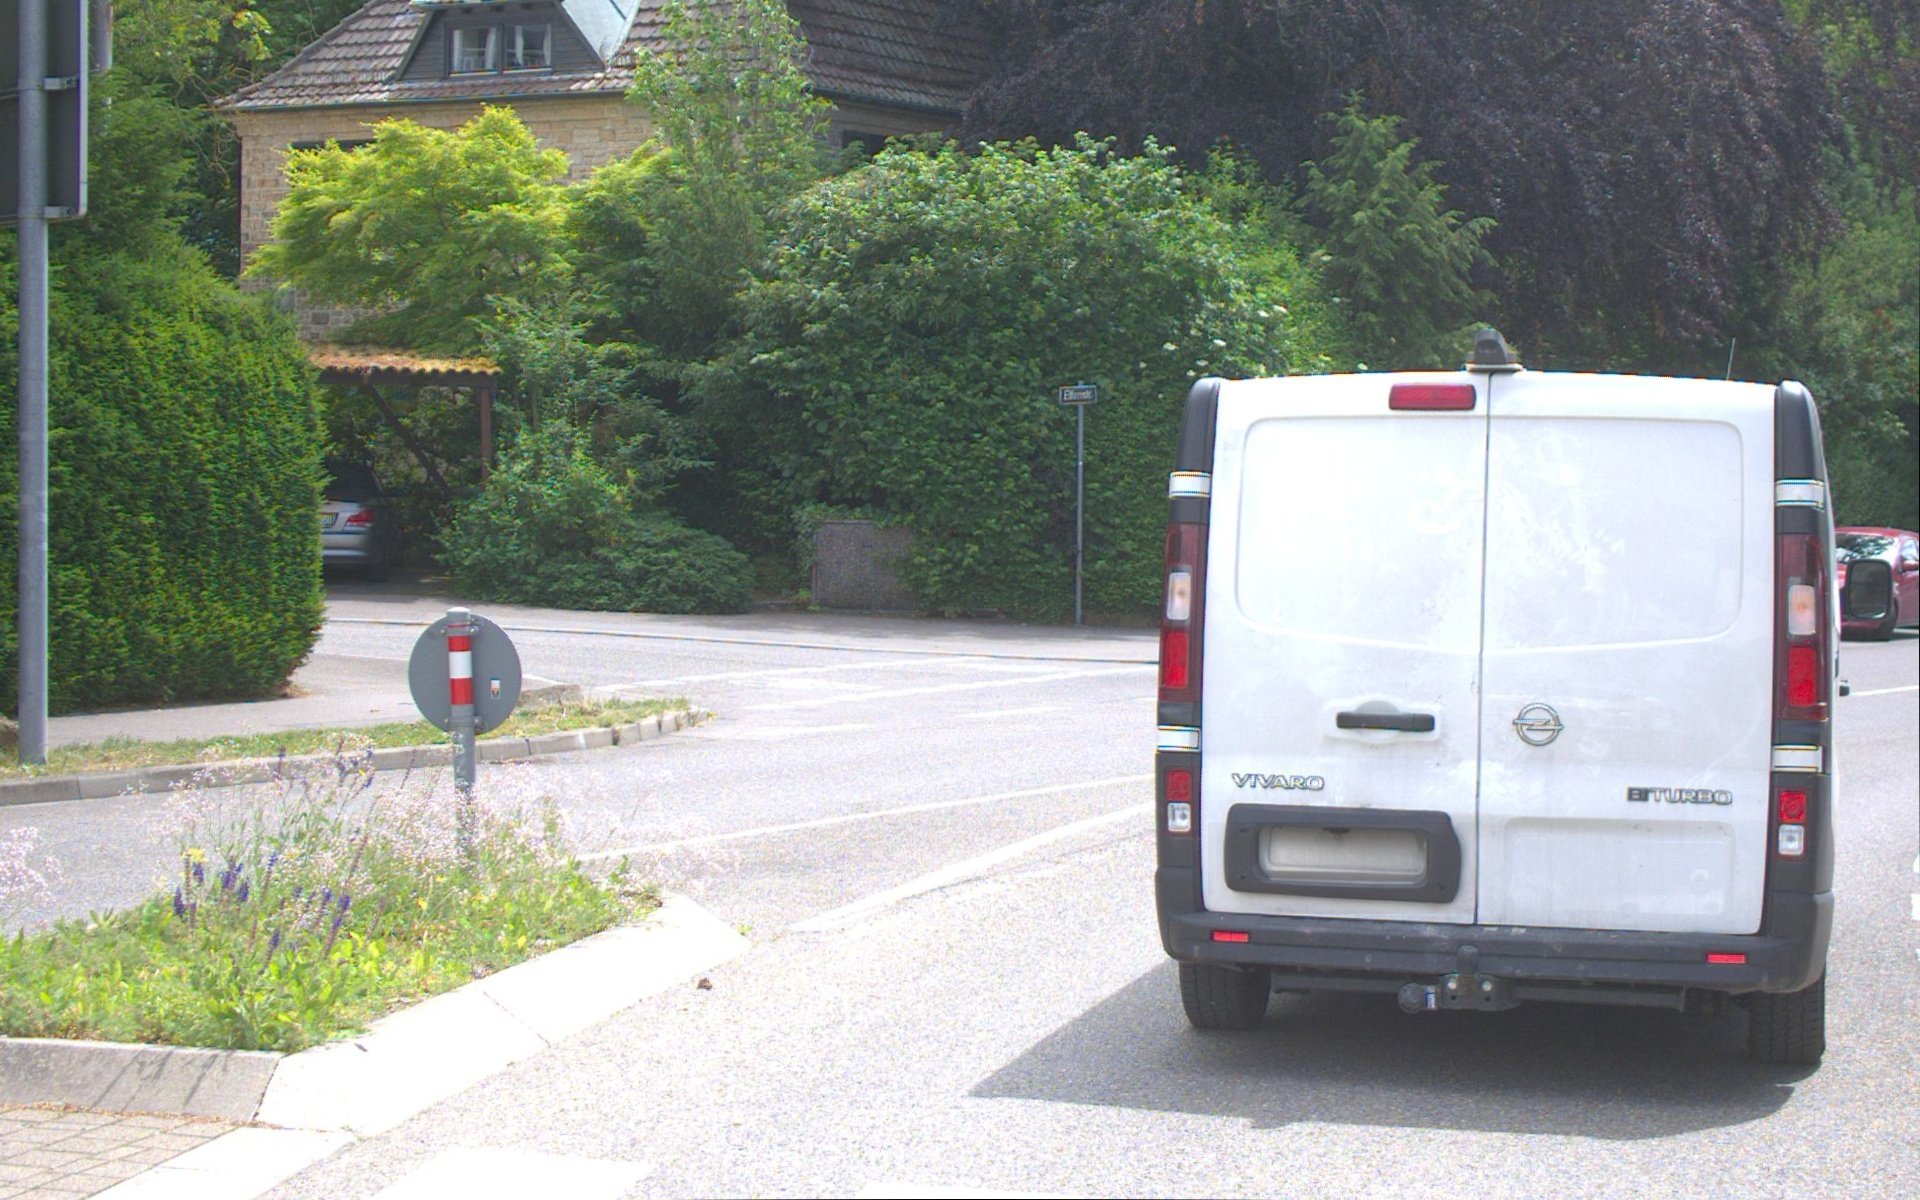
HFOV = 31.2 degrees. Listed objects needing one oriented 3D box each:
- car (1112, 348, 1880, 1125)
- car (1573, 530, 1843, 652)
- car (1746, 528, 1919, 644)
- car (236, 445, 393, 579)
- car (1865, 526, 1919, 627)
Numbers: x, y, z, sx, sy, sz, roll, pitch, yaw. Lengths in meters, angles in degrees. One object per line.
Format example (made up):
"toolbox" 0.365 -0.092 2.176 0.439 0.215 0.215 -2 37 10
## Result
"car" 1.992 0.279 11.332 1.940 1.954 4.830 2 2 15
"car" 9.432 -0.129 43.110 1.664 1.373 4.557 4 3 34
"car" 12.424 -0.211 47.478 1.653 1.445 4.097 4 3 33
"car" -7.875 -1.115 42.173 1.722 1.504 4.002 2 3 -9
"car" 15.036 -0.335 51.580 1.599 1.445 3.589 4 3 35
